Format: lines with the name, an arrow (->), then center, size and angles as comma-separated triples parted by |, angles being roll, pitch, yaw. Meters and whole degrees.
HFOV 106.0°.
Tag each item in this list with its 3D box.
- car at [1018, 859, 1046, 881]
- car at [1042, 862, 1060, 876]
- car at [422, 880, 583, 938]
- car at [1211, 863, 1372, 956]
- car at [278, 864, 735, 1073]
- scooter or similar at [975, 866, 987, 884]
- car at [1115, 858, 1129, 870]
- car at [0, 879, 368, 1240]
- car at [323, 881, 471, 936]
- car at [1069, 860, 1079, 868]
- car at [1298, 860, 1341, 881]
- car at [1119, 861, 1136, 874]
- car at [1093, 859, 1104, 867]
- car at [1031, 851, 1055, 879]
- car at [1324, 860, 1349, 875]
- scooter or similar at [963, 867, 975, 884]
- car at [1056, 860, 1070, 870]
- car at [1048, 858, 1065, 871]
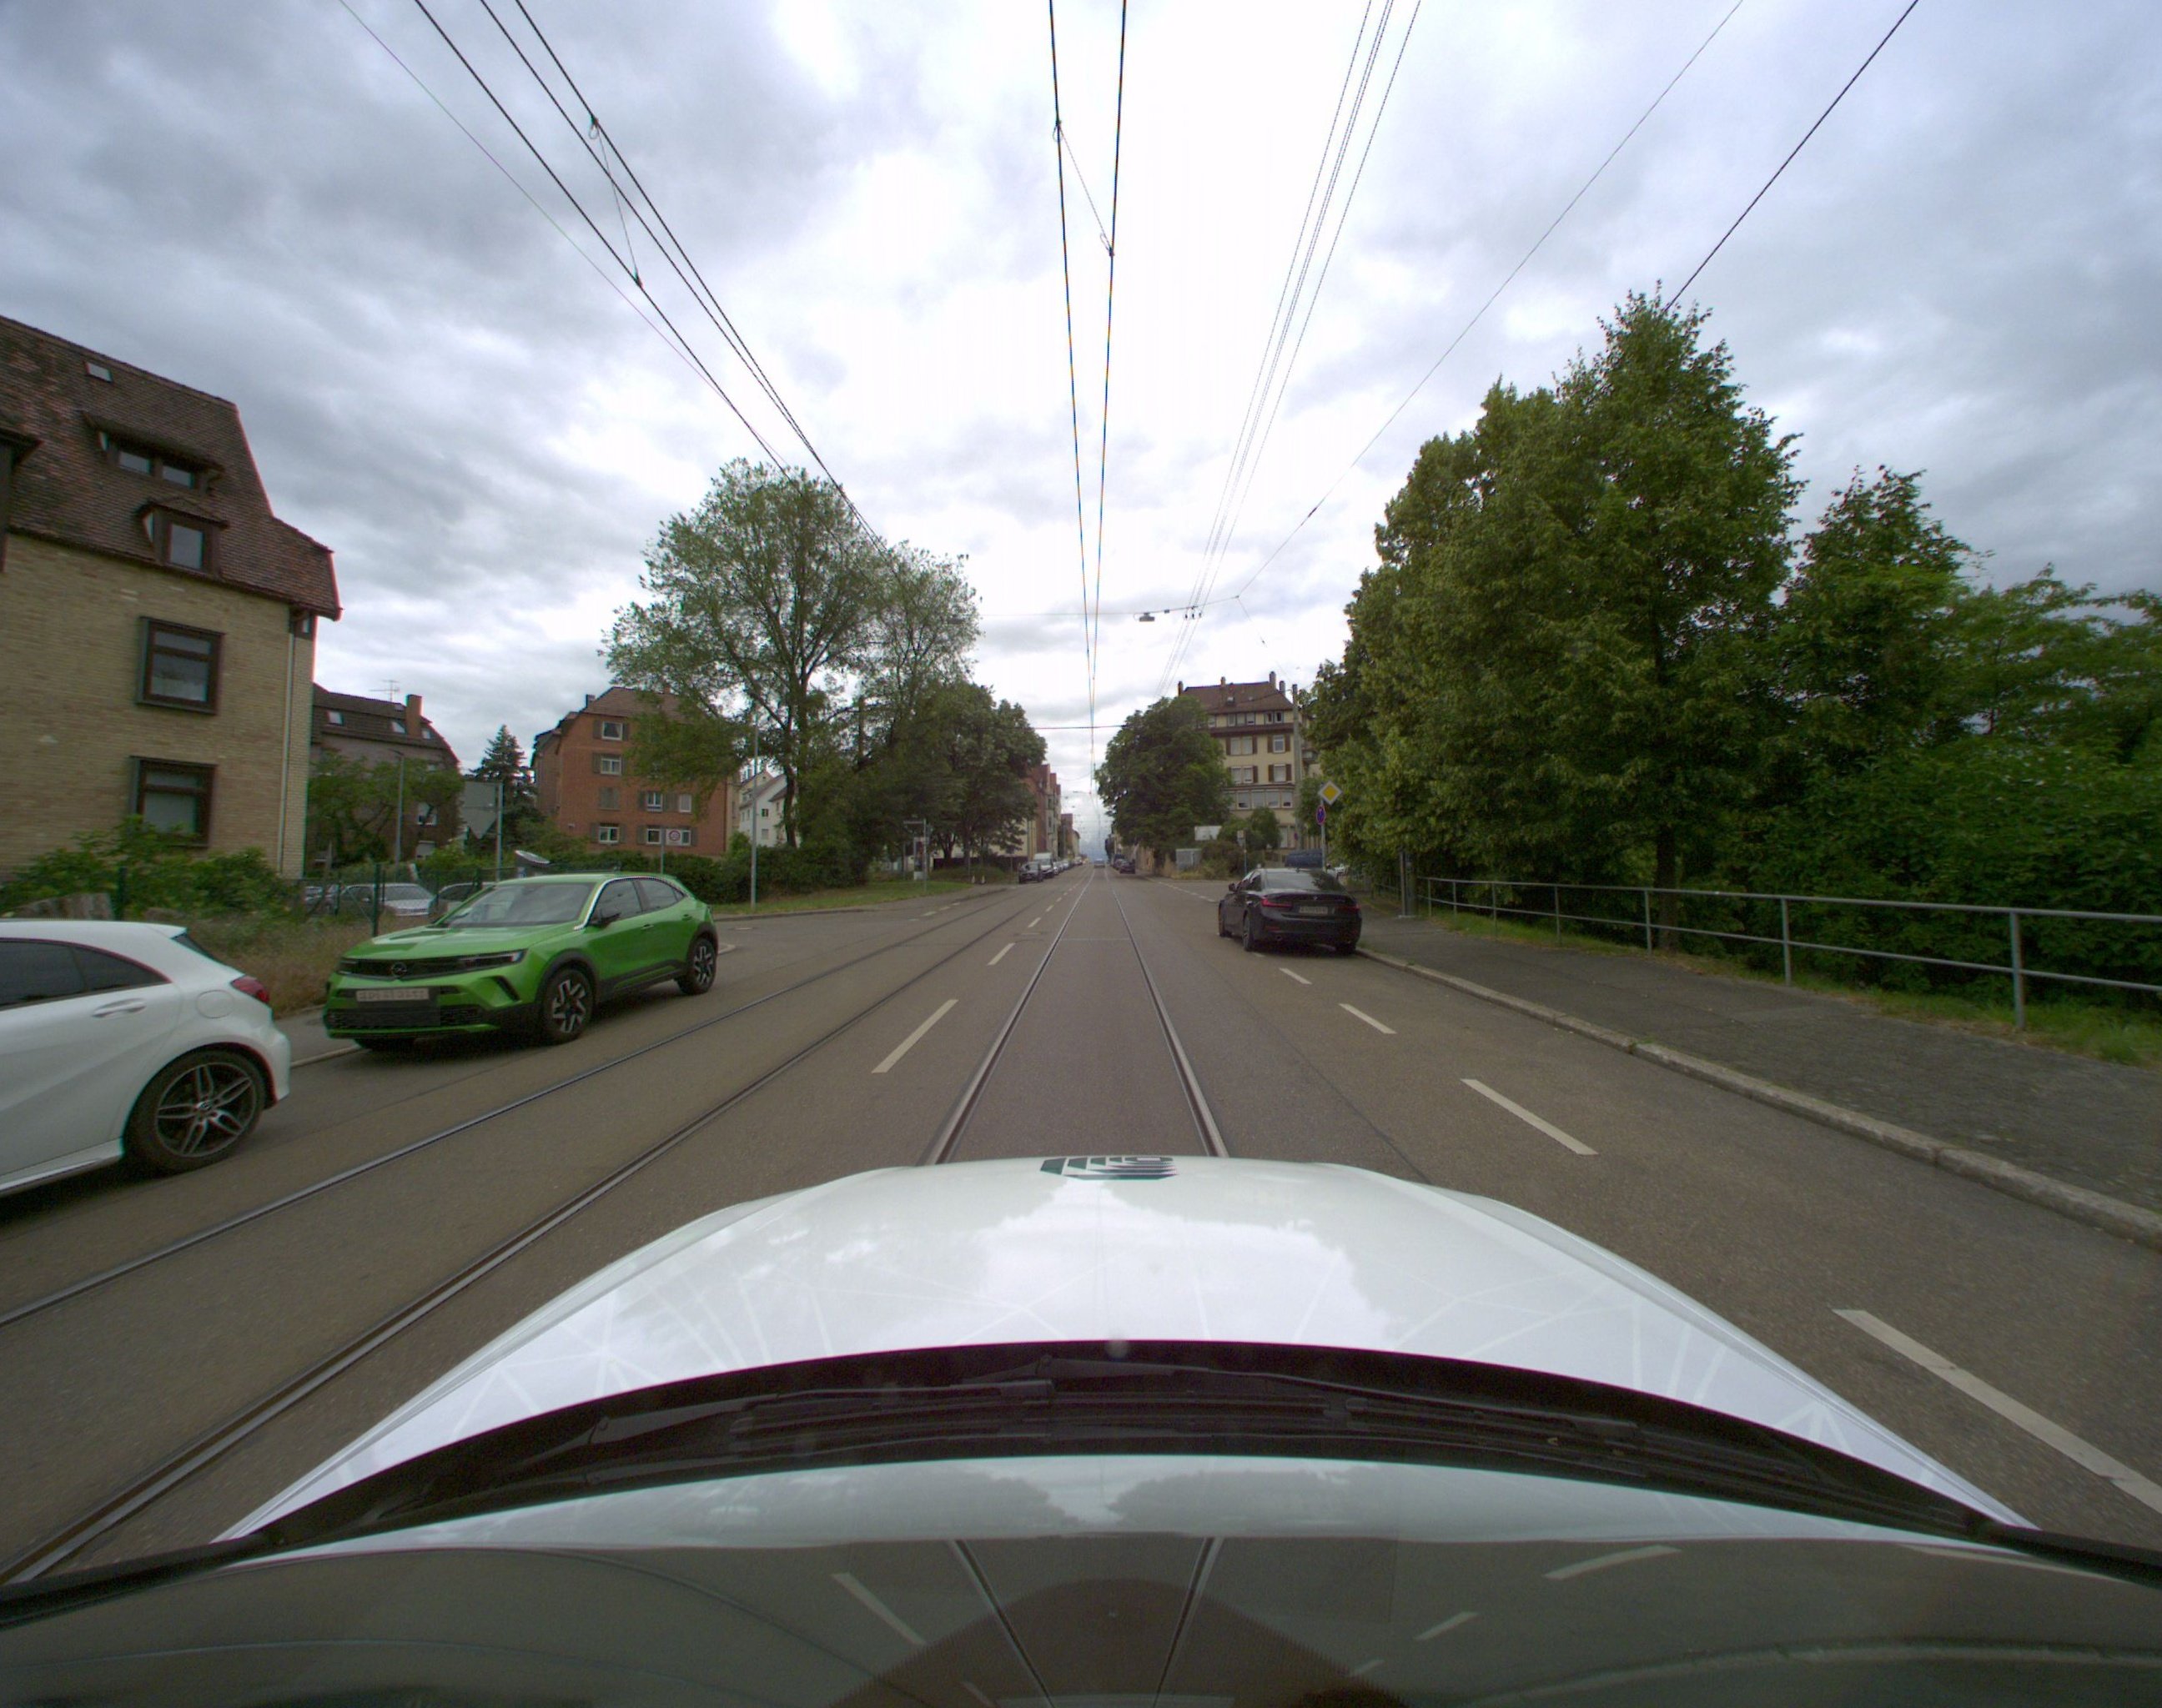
car -> -4.150, 1.364, 69.226 | 1.985, 1.808, 4.002 | 0, -1, 3
car -> -3.473, 1.711, 94.028 | 1.988, 1.600, 4.310 | 0, -1, -1
car -> -15.586, 1.426, 21.928 | 3.949, 1.418, 1.902 | -1, -1, 27
car -> 3.700, 0.909, 15.211 | 1.821, 1.430, 4.848 | 1, -1, 1
car -> -5.452, 0.935, 8.554 | 1.717, 1.580, 4.182 | -2, -1, 1
scooter or similar -> -7.915, 1.661, 64.307 | 0.688, 1.339, 1.639 | 0, -1, 2
car -> 5.946, 1.517, 119.319 | 1.986, 1.717, 4.001 | -1, -1, 2
car -> -5.647, 0.932, 2.969 | 1.878, 1.526, 4.664 | -2, -1, 1
car -> -20.580, 1.569, 24.490 | 3.949, 1.495, 2.012 | -1, -1, 27
car -> -1.475, 2.022, 167.073 | 1.986, 1.601, 4.000 | 0, -1, 1
car -> 17.329, 1.220, 59.103 | 1.974, 1.479, 4.491 | -1, -1, 30
car -> 5.579, 1.632, 98.047 | 1.986, 1.530, 4.314 | 0, -1, 2
car -> 3.087, 1.598, 143.185 | 1.986, 1.499, 4.312 | 0, -1, 1
car -> -3.884, 1.161, 83.724 | 2.224, 2.764, 5.796 | 0, -1, -1
car -> 28.514, 1.550, 90.802 | 1.975, 1.618, 4.023 | -1, -1, 26
scooter or similar -> -8.862, 1.703, 64.392 | 0.688, 1.339, 1.639 | 0, -1, 2
car -> -2.774, 1.749, 127.552 | 1.917, 1.601, 4.001 | 0, -1, 1
car -> -3.322, 1.466, 110.865 | 1.985, 1.812, 4.314 | 0, -1, 3
